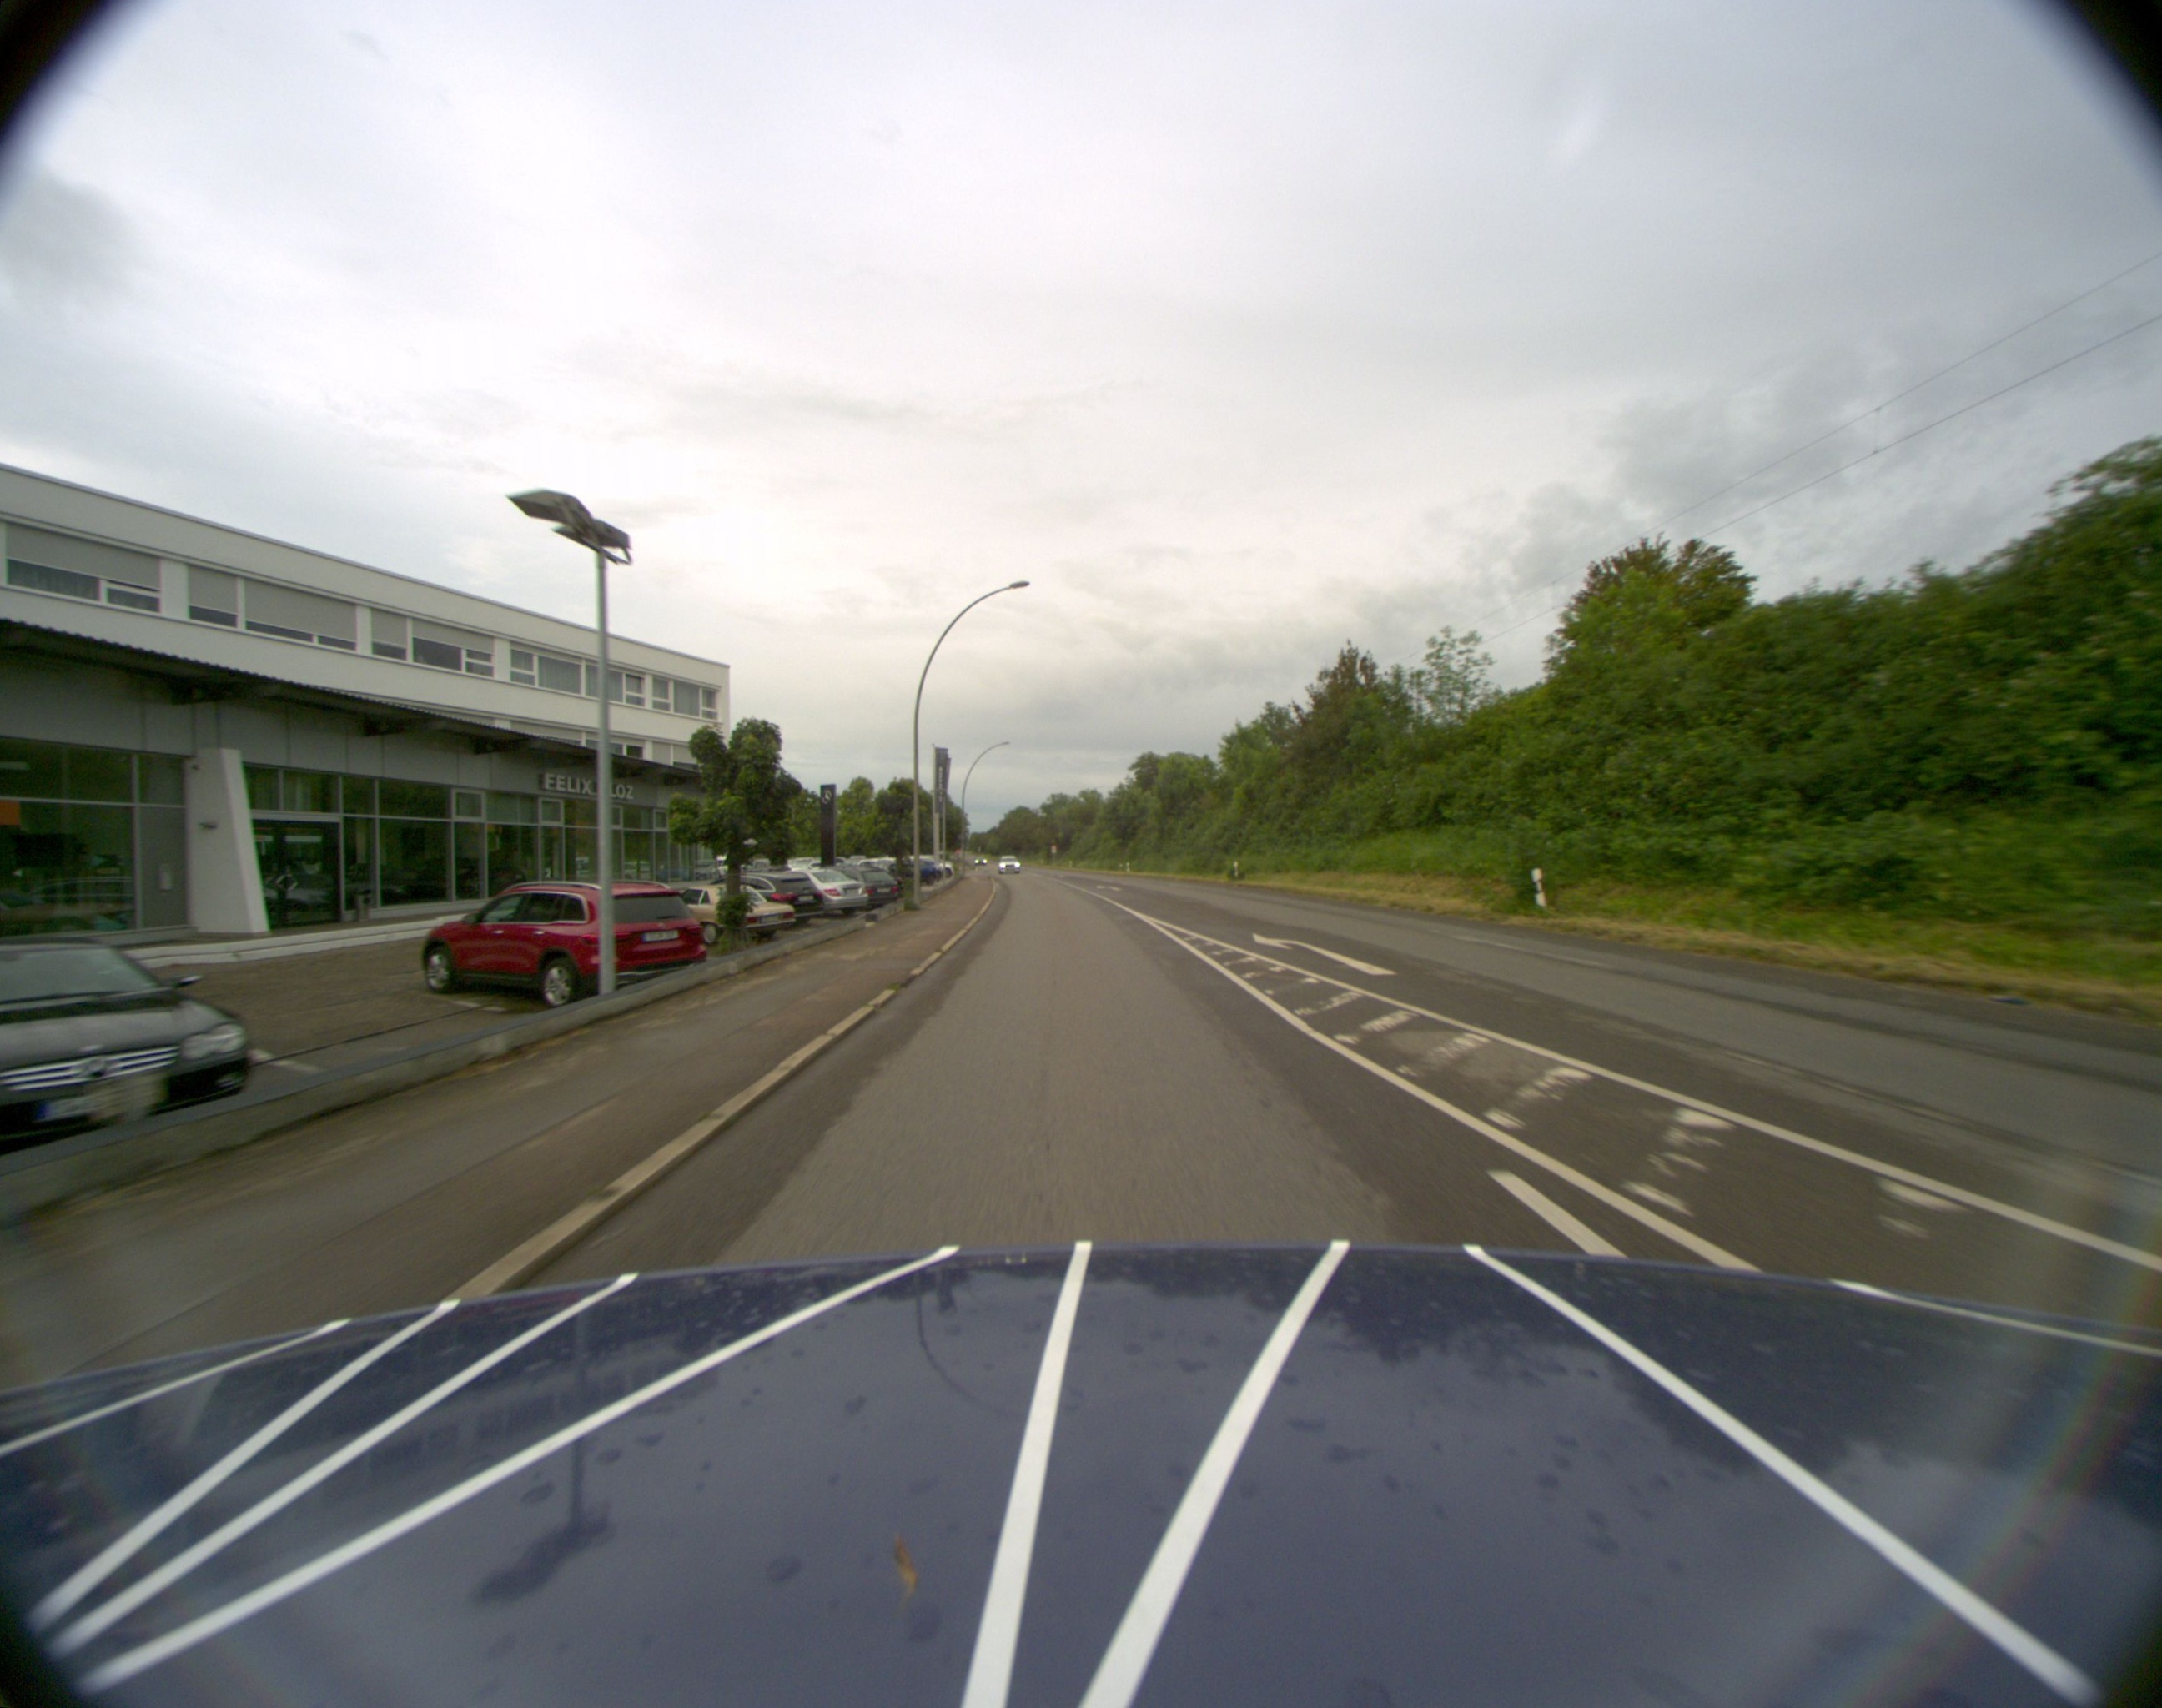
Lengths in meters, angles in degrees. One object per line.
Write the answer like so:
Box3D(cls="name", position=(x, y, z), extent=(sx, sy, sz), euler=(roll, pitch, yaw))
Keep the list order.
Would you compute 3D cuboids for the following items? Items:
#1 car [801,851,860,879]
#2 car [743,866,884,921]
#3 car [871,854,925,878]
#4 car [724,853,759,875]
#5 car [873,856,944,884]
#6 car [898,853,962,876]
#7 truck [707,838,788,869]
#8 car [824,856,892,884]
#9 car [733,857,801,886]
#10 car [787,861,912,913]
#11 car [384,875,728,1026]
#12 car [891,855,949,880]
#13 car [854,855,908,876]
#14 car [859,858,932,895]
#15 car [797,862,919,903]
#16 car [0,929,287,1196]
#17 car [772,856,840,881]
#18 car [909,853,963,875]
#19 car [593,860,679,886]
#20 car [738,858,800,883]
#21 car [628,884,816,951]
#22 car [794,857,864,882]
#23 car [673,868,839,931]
Box3D(cls="car", position=(-18.475, 0.782, 56.161), extent=(1.675, 1.711, 4.005), euler=(-2, 3, 28))
Box3D(cls="car", position=(-8.389, 1.160, 23.755), extent=(4.163, 1.459, 1.840), euler=(1, 2, 30))
Box3D(cls="car", position=(-12.842, 0.835, 53.522), extent=(1.659, 1.590, 3.565), euler=(1, 1, 30))
Box3D(cls="car", position=(-24.876, 0.733, 55.673), extent=(1.775, 1.542, 3.442), euler=(-1, -1, -34))
Box3D(cls="car", position=(-10.711, 0.960, 47.512), extent=(1.838, 1.623, 4.375), euler=(1, 1, 29))
Box3D(cls="car", position=(-11.453, 0.786, 57.831), extent=(4.436, 1.643, 1.921), euler=(-1, 1, -42))
Box3D(cls="truck", position=(-33.801, -0.124, 77.525), extent=(2.784, 2.608, 8.481), euler=(-3, 2, 15))
Box3D(cls="car", position=(-13.885, 0.950, 47.523), extent=(1.727, 1.590, 4.186), euler=(1, 1, 24))
Box3D(cls="car", position=(-21.293, 1.182, 51.684), extent=(1.768, 1.632, 3.992), euler=(-2, 3, 28))
Box3D(cls="car", position=(-8.028, 1.134, 26.255), extent=(3.989, 1.547, 1.902), euler=(-2, 2, 32))
Box3D(cls="car", position=(-7.752, 1.242, 11.205), extent=(4.686, 1.653, 2.003), euler=(0, 3, 25))
Box3D(cls="car", position=(-10.924, 0.885, 51.722), extent=(1.727, 1.590, 3.822), euler=(1, 1, 30))
Box3D(cls="car", position=(-15.923, 0.896, 60.716), extent=(1.962, 1.490, 4.371), euler=(-1, 1, 20))
Box3D(cls="car", position=(-8.832, 1.022, 35.890), extent=(1.845, 1.598, 4.538), euler=(0, 0, -35))
Box3D(cls="car", position=(-8.749, 1.080, 29.761), extent=(4.431, 1.470, 1.938), euler=(-1, 0, 28))
Box3D(cls="car", position=(-8.434, 1.445, 5.957), extent=(4.154, 1.433, 1.813), euler=(-1, 0, 26))
Box3D(cls="car", position=(-18.404, 0.952, 50.998), extent=(1.899, 1.536, 4.007), euler=(-1, 0, 27))
Box3D(cls="car", position=(-12.473, 0.845, 65.511), extent=(1.961, 1.661, 4.373), euler=(-1, 1, 34))
Box3D(cls="car", position=(-25.277, 1.052, 43.137), extent=(4.400, 1.433, 2.004), euler=(0, 0, 23))
Box3D(cls="car", position=(-19.293, 0.994, 46.989), extent=(3.552, 1.469, 1.784), euler=(0, 0, 31))
Box3D(cls="car", position=(-8.662, 1.455, 18.294), extent=(4.225, 1.294, 1.737), euler=(-1, 3, 26))
Box3D(cls="car", position=(-16.225, 0.976, 49.108), extent=(1.899, 1.536, 4.007), euler=(-1, 0, 28))
Box3D(cls="car", position=(-8.930, 1.250, 20.906), extent=(3.960, 1.483, 1.978), euler=(-3, 2, 25))
